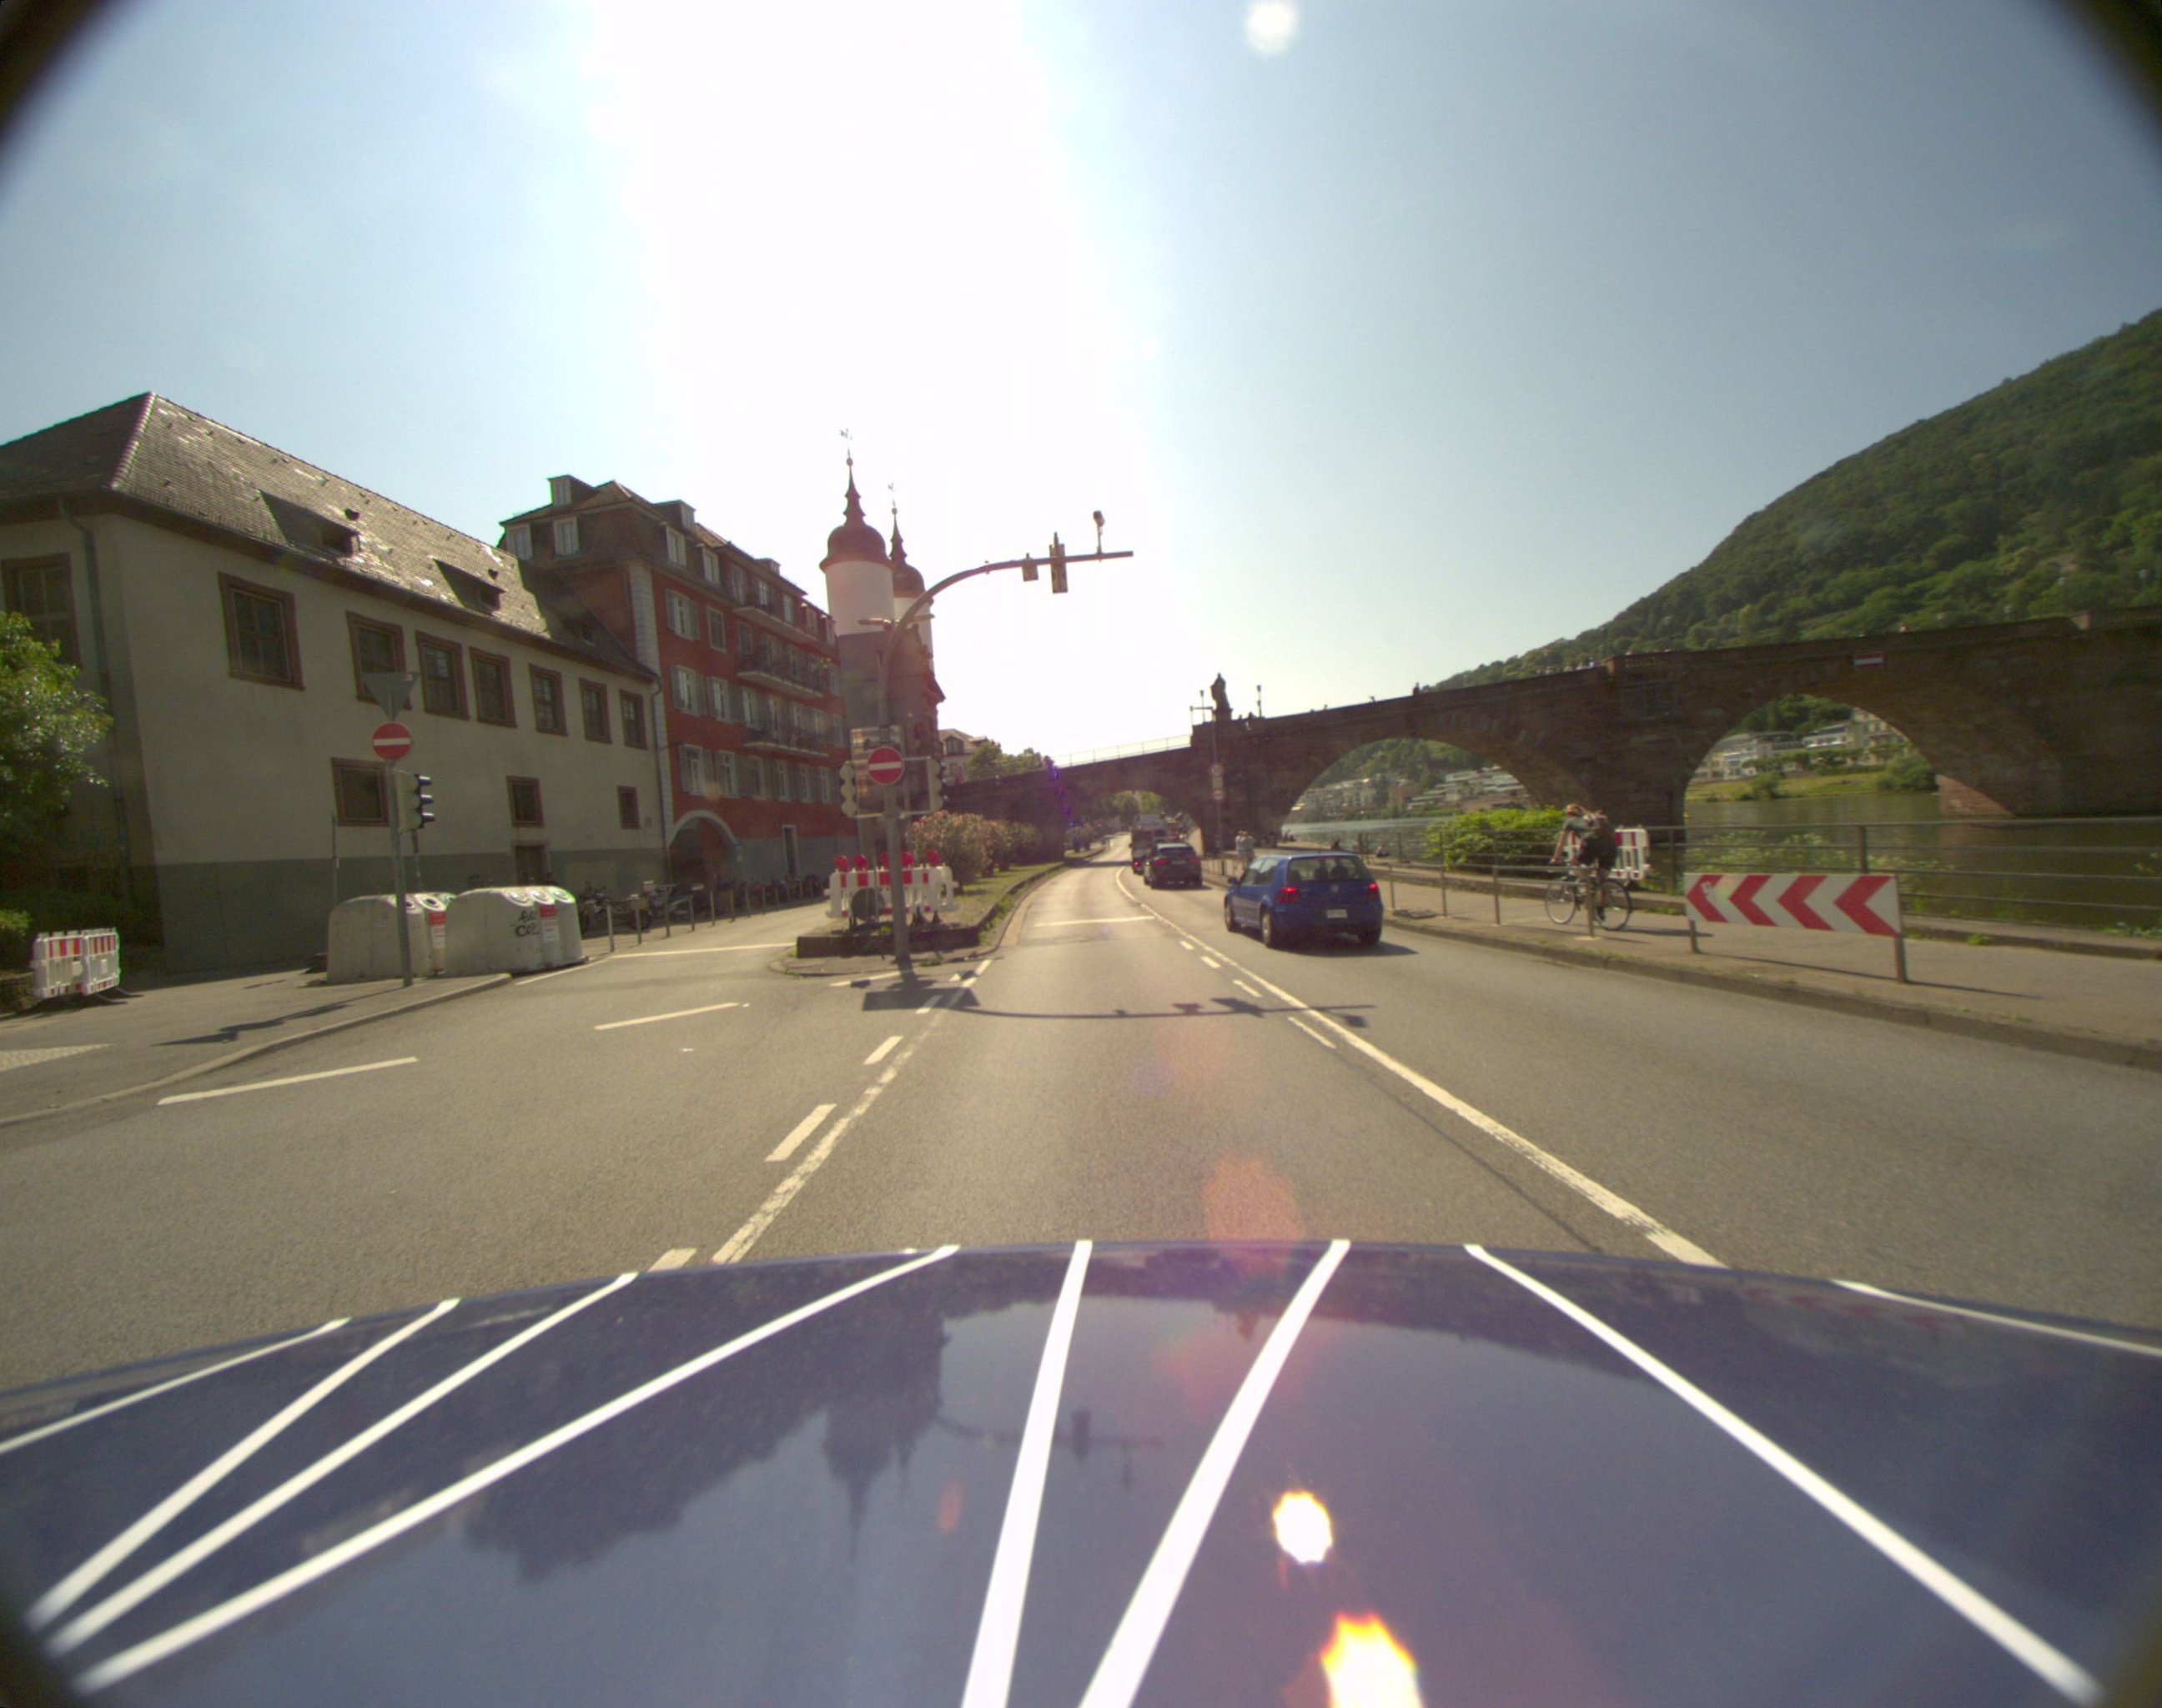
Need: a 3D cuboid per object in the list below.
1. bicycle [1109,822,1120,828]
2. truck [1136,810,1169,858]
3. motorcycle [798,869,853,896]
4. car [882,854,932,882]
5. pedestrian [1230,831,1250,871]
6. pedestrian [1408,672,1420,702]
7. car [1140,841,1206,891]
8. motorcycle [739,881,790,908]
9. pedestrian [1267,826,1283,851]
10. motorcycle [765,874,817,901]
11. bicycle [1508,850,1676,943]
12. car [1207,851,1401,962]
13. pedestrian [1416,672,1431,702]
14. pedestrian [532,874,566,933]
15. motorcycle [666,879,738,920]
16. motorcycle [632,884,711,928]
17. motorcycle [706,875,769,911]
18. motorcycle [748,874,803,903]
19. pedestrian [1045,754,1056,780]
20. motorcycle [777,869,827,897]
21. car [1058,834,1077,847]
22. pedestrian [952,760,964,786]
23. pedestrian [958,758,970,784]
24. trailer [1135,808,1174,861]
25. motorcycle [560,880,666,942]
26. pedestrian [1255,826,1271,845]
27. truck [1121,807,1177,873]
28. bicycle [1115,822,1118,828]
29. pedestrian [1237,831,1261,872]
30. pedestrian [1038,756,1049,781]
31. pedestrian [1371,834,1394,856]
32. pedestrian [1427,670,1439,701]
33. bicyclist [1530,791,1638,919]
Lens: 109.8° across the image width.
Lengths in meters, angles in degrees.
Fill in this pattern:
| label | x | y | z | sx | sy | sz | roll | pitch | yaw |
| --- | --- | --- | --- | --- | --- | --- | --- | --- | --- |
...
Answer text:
| label | x | y | z | sx | sy | sz | roll | pitch | yaw |
| --- | --- | --- | --- | --- | --- | --- | --- | --- | --- |
| bicycle | 7.483 | -6.447 | 169.571 | 2.159 | 1.361 | 0.584 | -1 | 4 | 10 |
| truck | 6.075 | -1.674 | 64.189 | 2.529 | 3.727 | 6.247 | -2 | 2 | 7 |
| motorcycle | -13.531 | 1.492 | 40.297 | 2.547 | 1.226 | 0.840 | -4 | 2 | -36 |
| car | -11.721 | 0.890 | 51.392 | 1.674 | 1.534 | 3.813 | -4 | 2 | 13 |
| pedestrian | 7.389 | -0.143 | 35.278 | 0.520 | 1.783 | 0.823 | -3 | 2 | 31 |
| pedestrian | 23.612 | -11.847 | 53.896 | 0.467 | 2.003 | 0.639 | -3 | 3 | 0 |
| car | 3.429 | 0.371 | 29.081 | 1.868 | 1.671 | 4.452 | -3 | 1 | -1 |
| motorcycle | -14.023 | 1.793 | 33.691 | 1.935 | 0.981 | 0.546 | -5 | 3 | -39 |
| pedestrian | 12.991 | -1.044 | 50.880 | 0.790 | 1.641 | 0.774 | -4 | 1 | 2 |
| motorcycle | -13.998 | 1.603 | 36.712 | 2.201 | 1.070 | 0.627 | -5 | 2 | -39 |
| bicycle | 6.977 | 0.540 | 10.531 | 0.669 | 1.106 | 2.033 | -5 | 0 | -9 |
| car | 3.507 | 0.727 | 12.857 | 1.734 | 1.482 | 4.323 | -3 | 0 | -4 |
| pedestrian | 24.277 | -11.813 | 53.820 | 0.694 | 2.003 | 0.625 | -3 | 3 | 0 |
| pedestrian | -17.205 | 1.601 | 24.594 | 0.496 | 1.813 | 0.618 | -3 | 3 | 1 |
| motorcycle | -13.709 | 1.638 | 27.537 | 2.201 | 1.260 | 0.627 | -4 | 2 | -31 |
| motorcycle | -13.874 | 1.736 | 25.789 | 2.239 | 1.245 | 0.627 | -4 | 1 | -31 |
| motorcycle | -13.897 | 1.561 | 30.764 | 2.186 | 1.260 | 0.781 | -4 | 2 | -31 |
| motorcycle | -14.141 | 1.578 | 35.247 | 2.201 | 1.141 | 0.627 | -5 | 3 | -39 |
| pedestrian | -2.450 | -6.919 | 60.774 | 0.640 | 2.003 | 0.707 | -3 | 3 | 7 |
| motorcycle | -14.053 | 1.463 | 38.337 | 2.156 | 1.226 | 0.840 | -5 | 2 | -36 |
| car | -1.737 | -1.819 | 100.006 | 1.614 | 1.406 | 3.904 | -3 | 3 | 12 |
| pedestrian | -9.724 | -6.381 | 60.153 | 0.579 | 2.003 | 0.707 | -3 | 3 | 7 |
| pedestrian | -9.143 | -6.494 | 59.565 | 0.640 | 2.003 | 0.707 | -3 | 3 | 7 |
| trailer | 5.522 | -1.599 | 58.642 | 2.529 | 3.624 | 11.529 | -2 | 2 | 4 |
| motorcycle | -13.819 | 1.636 | 22.486 | 2.501 | 1.524 | 1.051 | -5 | 2 | -34 |
| pedestrian | 12.439 | -1.272 | 51.843 | 0.790 | 1.223 | 1.026 | -4 | 1 | 2 |
| truck | 3.659 | -0.781 | 42.543 | 2.382 | 3.243 | 7.609 | -4 | 1 | 1 |
| bicycle | 7.818 | -6.260 | 165.550 | 0.476 | 1.255 | 2.162 | -1 | 3 | 8 |
| pedestrian | 7.148 | -0.107 | 32.335 | 0.758 | 1.713 | 0.543 | -6 | 2 | -33 |
| pedestrian | -3.047 | -6.924 | 61.531 | 0.640 | 2.003 | 0.707 | -3 | 3 | 7 |
| pedestrian | 16.781 | -0.504 | 42.262 | 0.967 | 1.124 | 0.831 | -3 | 2 | 9 |
| pedestrian | 24.915 | -11.917 | 53.814 | 0.467 | 2.003 | 0.639 | -3 | 3 | 0 |
| bicyclist | 6.926 | 0.005 | 10.513 | 0.669 | 1.623 | 0.979 | -6 | 2 | -9 |
